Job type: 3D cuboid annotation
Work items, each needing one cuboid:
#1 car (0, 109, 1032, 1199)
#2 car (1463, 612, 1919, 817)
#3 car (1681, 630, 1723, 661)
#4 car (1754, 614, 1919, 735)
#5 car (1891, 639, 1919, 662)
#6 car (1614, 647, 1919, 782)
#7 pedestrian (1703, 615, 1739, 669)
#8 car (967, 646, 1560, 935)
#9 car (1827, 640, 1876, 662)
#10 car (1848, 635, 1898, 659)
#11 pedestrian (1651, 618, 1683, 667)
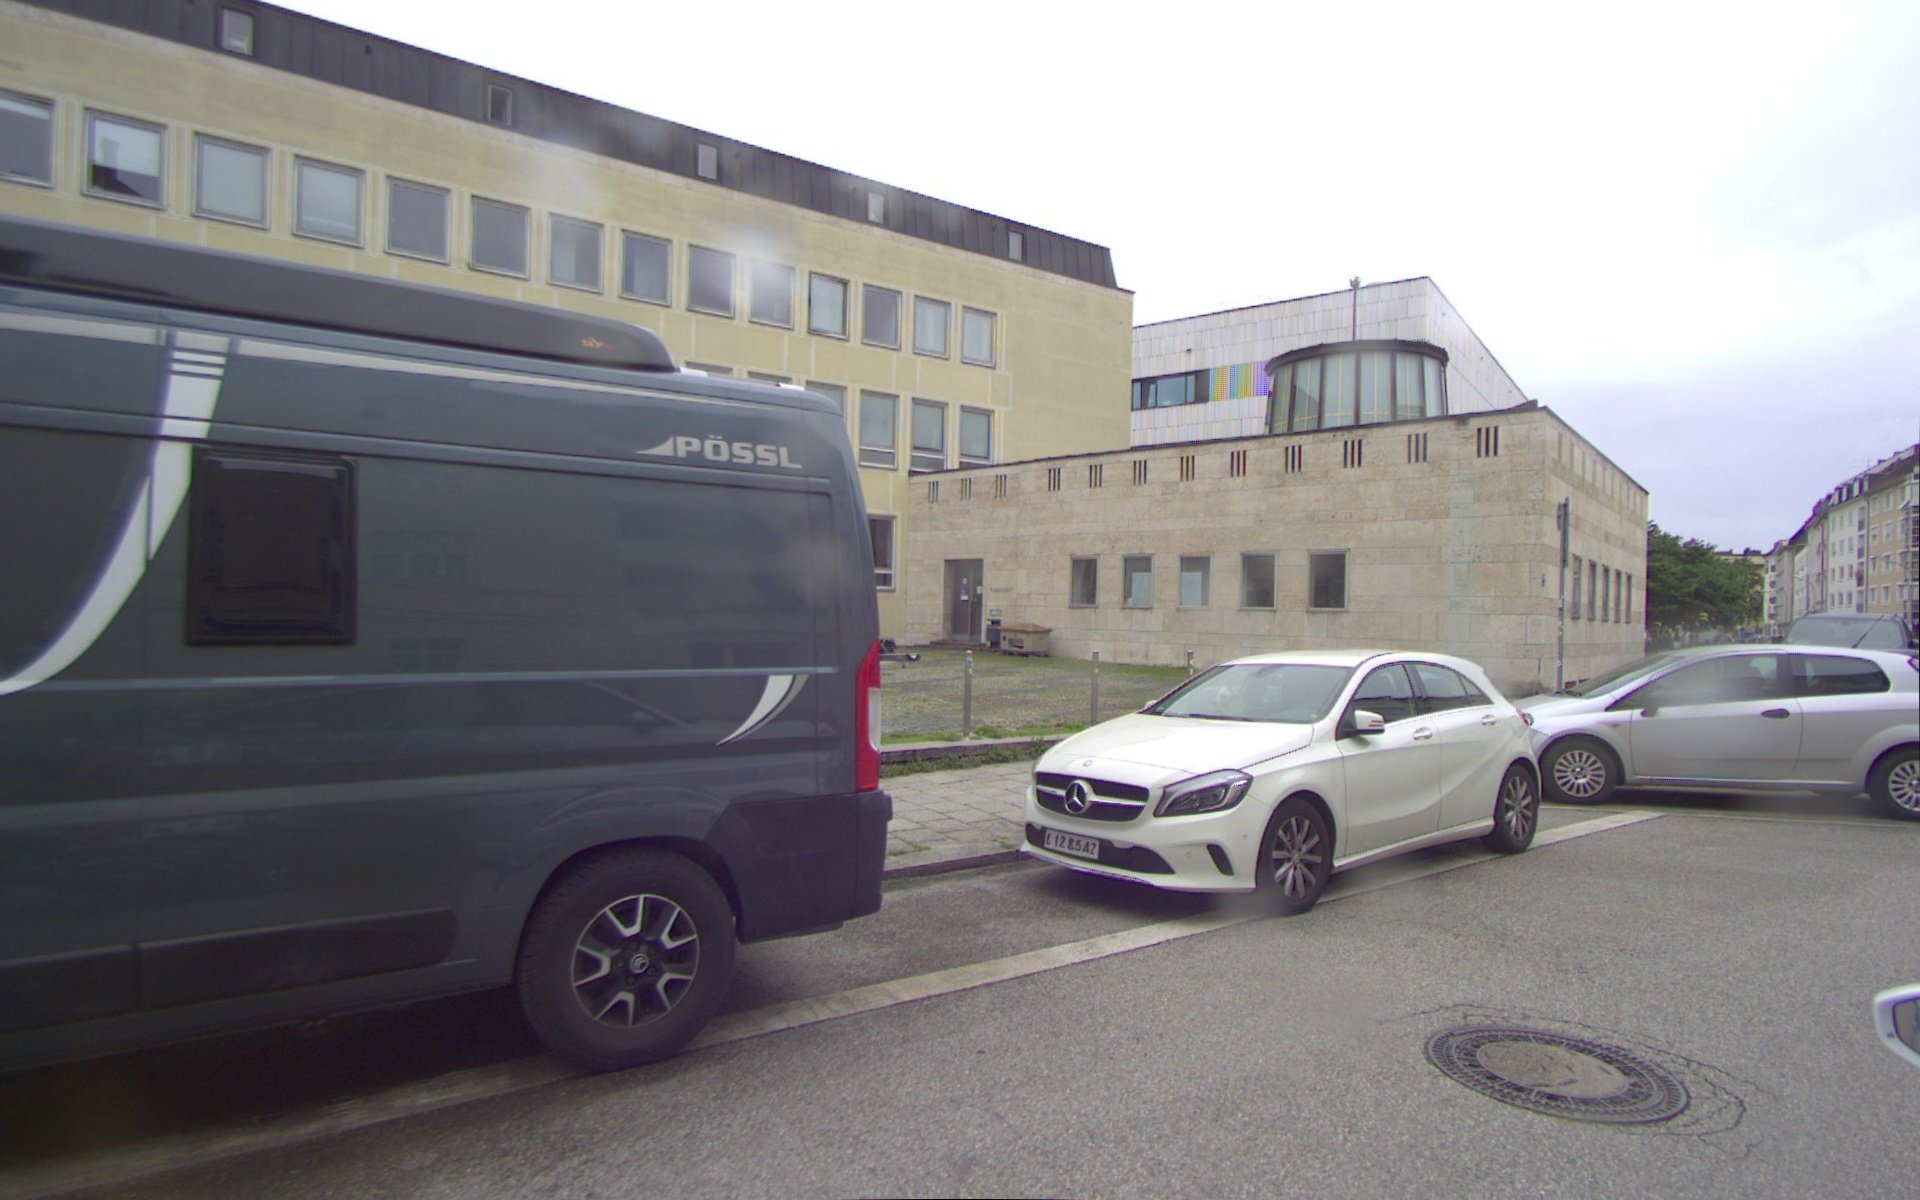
[{"bbox_3d":[-2.870,0.159,3.263,6.143,2.608,2.132,2,-2,-32],"label":"car"},{"bbox_3d":[7.146,0.991,9.690,3.906,1.550,1.675,3,1,22],"label":"car"},{"bbox_3d":[69.158,4.257,93.693,2.386,2.750,5.943,0,-3,29],"label":"car"},{"bbox_3d":[15.485,1.190,17.566,4.784,1.795,1.973,2,-1,-45],"label":"car"},{"bbox_3d":[67.563,3.560,70.801,1.897,1.532,4.383,3,0,31],"label":"car"},{"bbox_3d":[9.993,1.242,11.427,3.928,1.391,1.750,-1,-3,19],"label":"car"},{"bbox_3d":[25.988,1.433,34.287,0.814,1.763,0.787,2,1,-42],"label":"pedestrian"},{"bbox_3d":[2.220,1.043,6.892,4.103,1.405,1.815,2,-5,-37],"label":"car"},{"bbox_3d":[75.114,4.279,84.712,1.934,1.623,4.665,3,1,27],"label":"car"},{"bbox_3d":[72.744,3.710,80.097,1.802,1.623,4.260,3,1,27],"label":"car"},{"bbox_3d":[24.043,1.440,34.149,0.631,1.623,0.606,2,1,12],"label":"pedestrian"}]
